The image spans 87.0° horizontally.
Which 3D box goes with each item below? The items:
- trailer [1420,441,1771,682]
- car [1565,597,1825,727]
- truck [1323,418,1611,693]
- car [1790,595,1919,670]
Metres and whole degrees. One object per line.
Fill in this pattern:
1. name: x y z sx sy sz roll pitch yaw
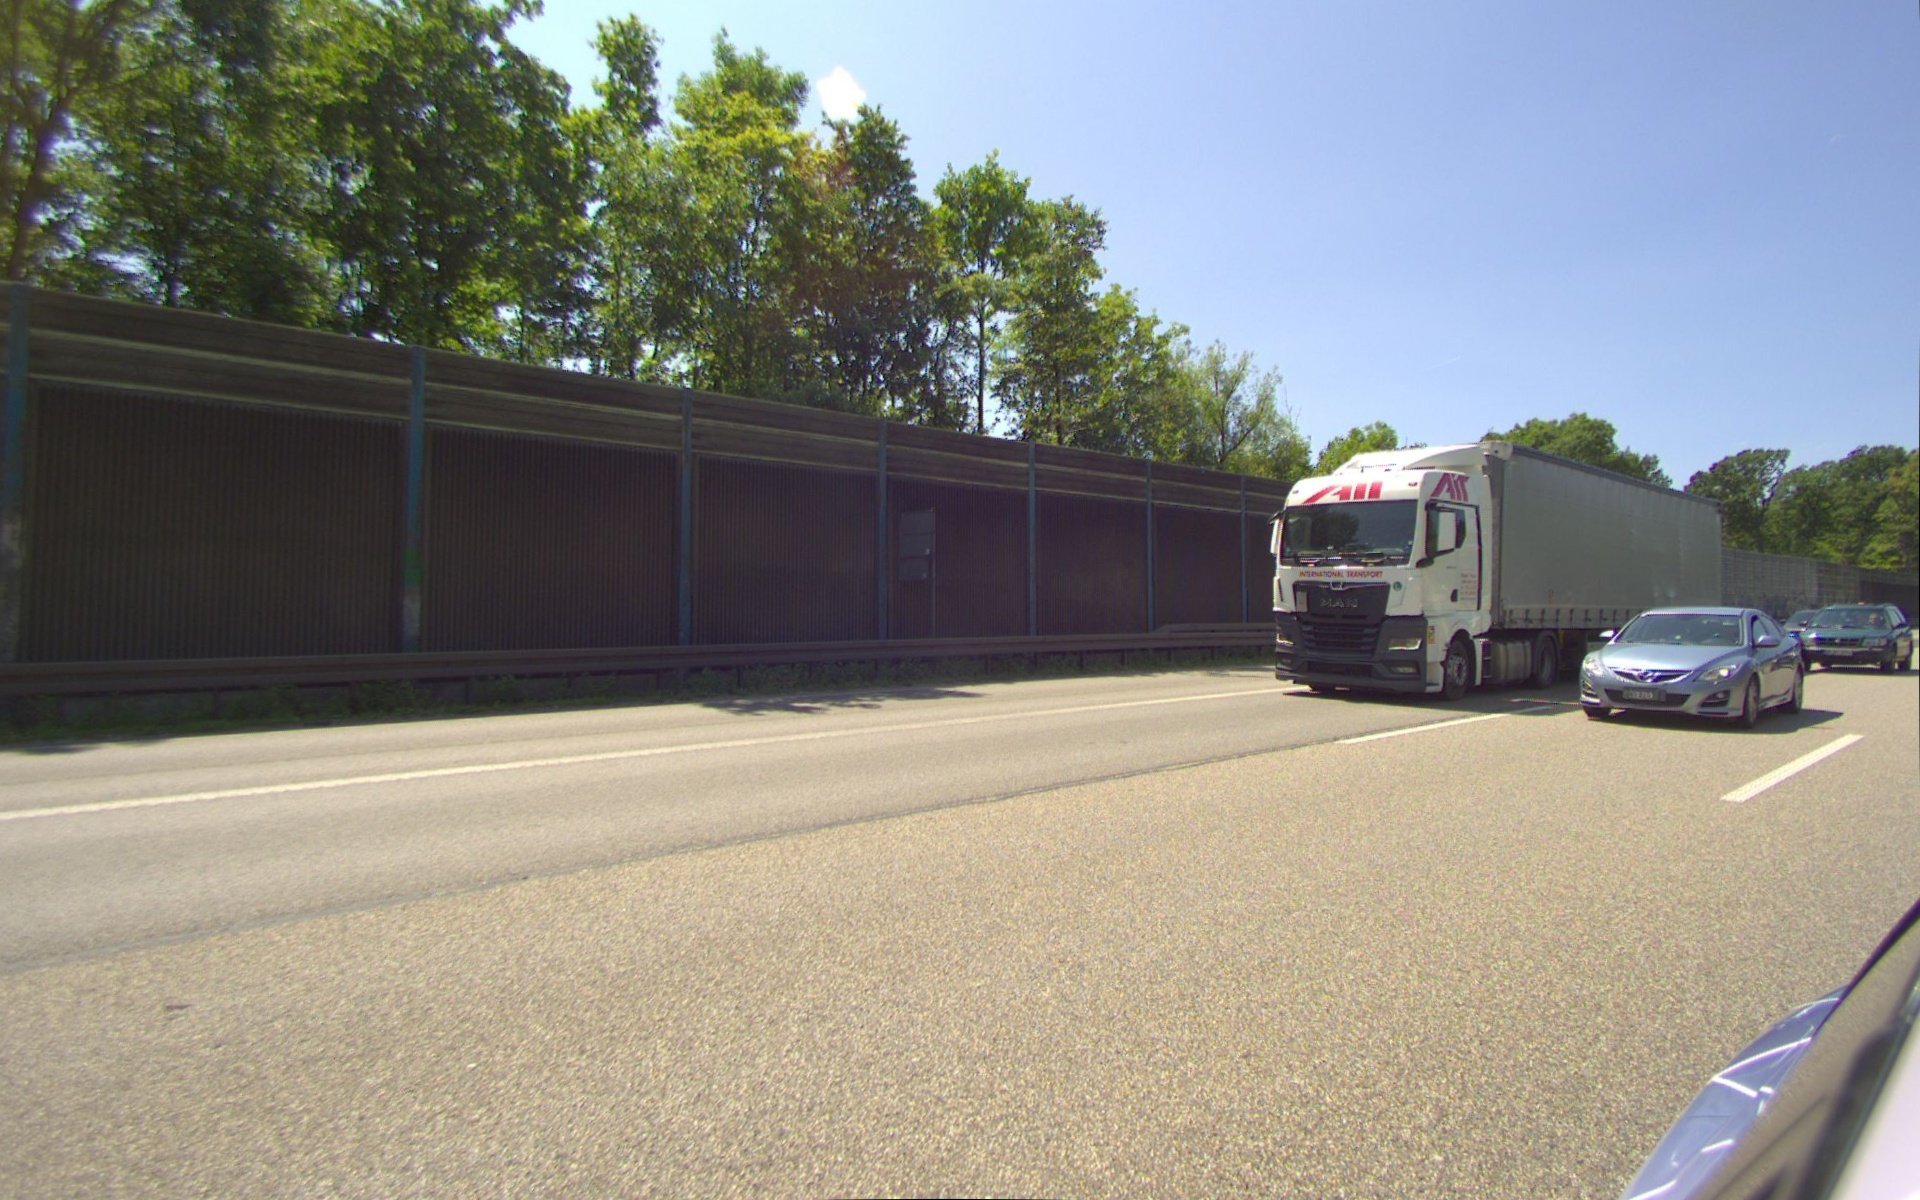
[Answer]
1. trailer: 14.790 -0.667 22.665 13.347 4.142 2.604 0 0 -39
2. car: 9.783 0.716 13.369 4.102 1.452 1.859 1 -1 -40
3. truck: 9.104 -0.674 17.970 5.453 4.142 2.604 0 0 -39
4. car: 21.031 0.717 23.452 3.925 1.579 1.908 1 -1 -37
